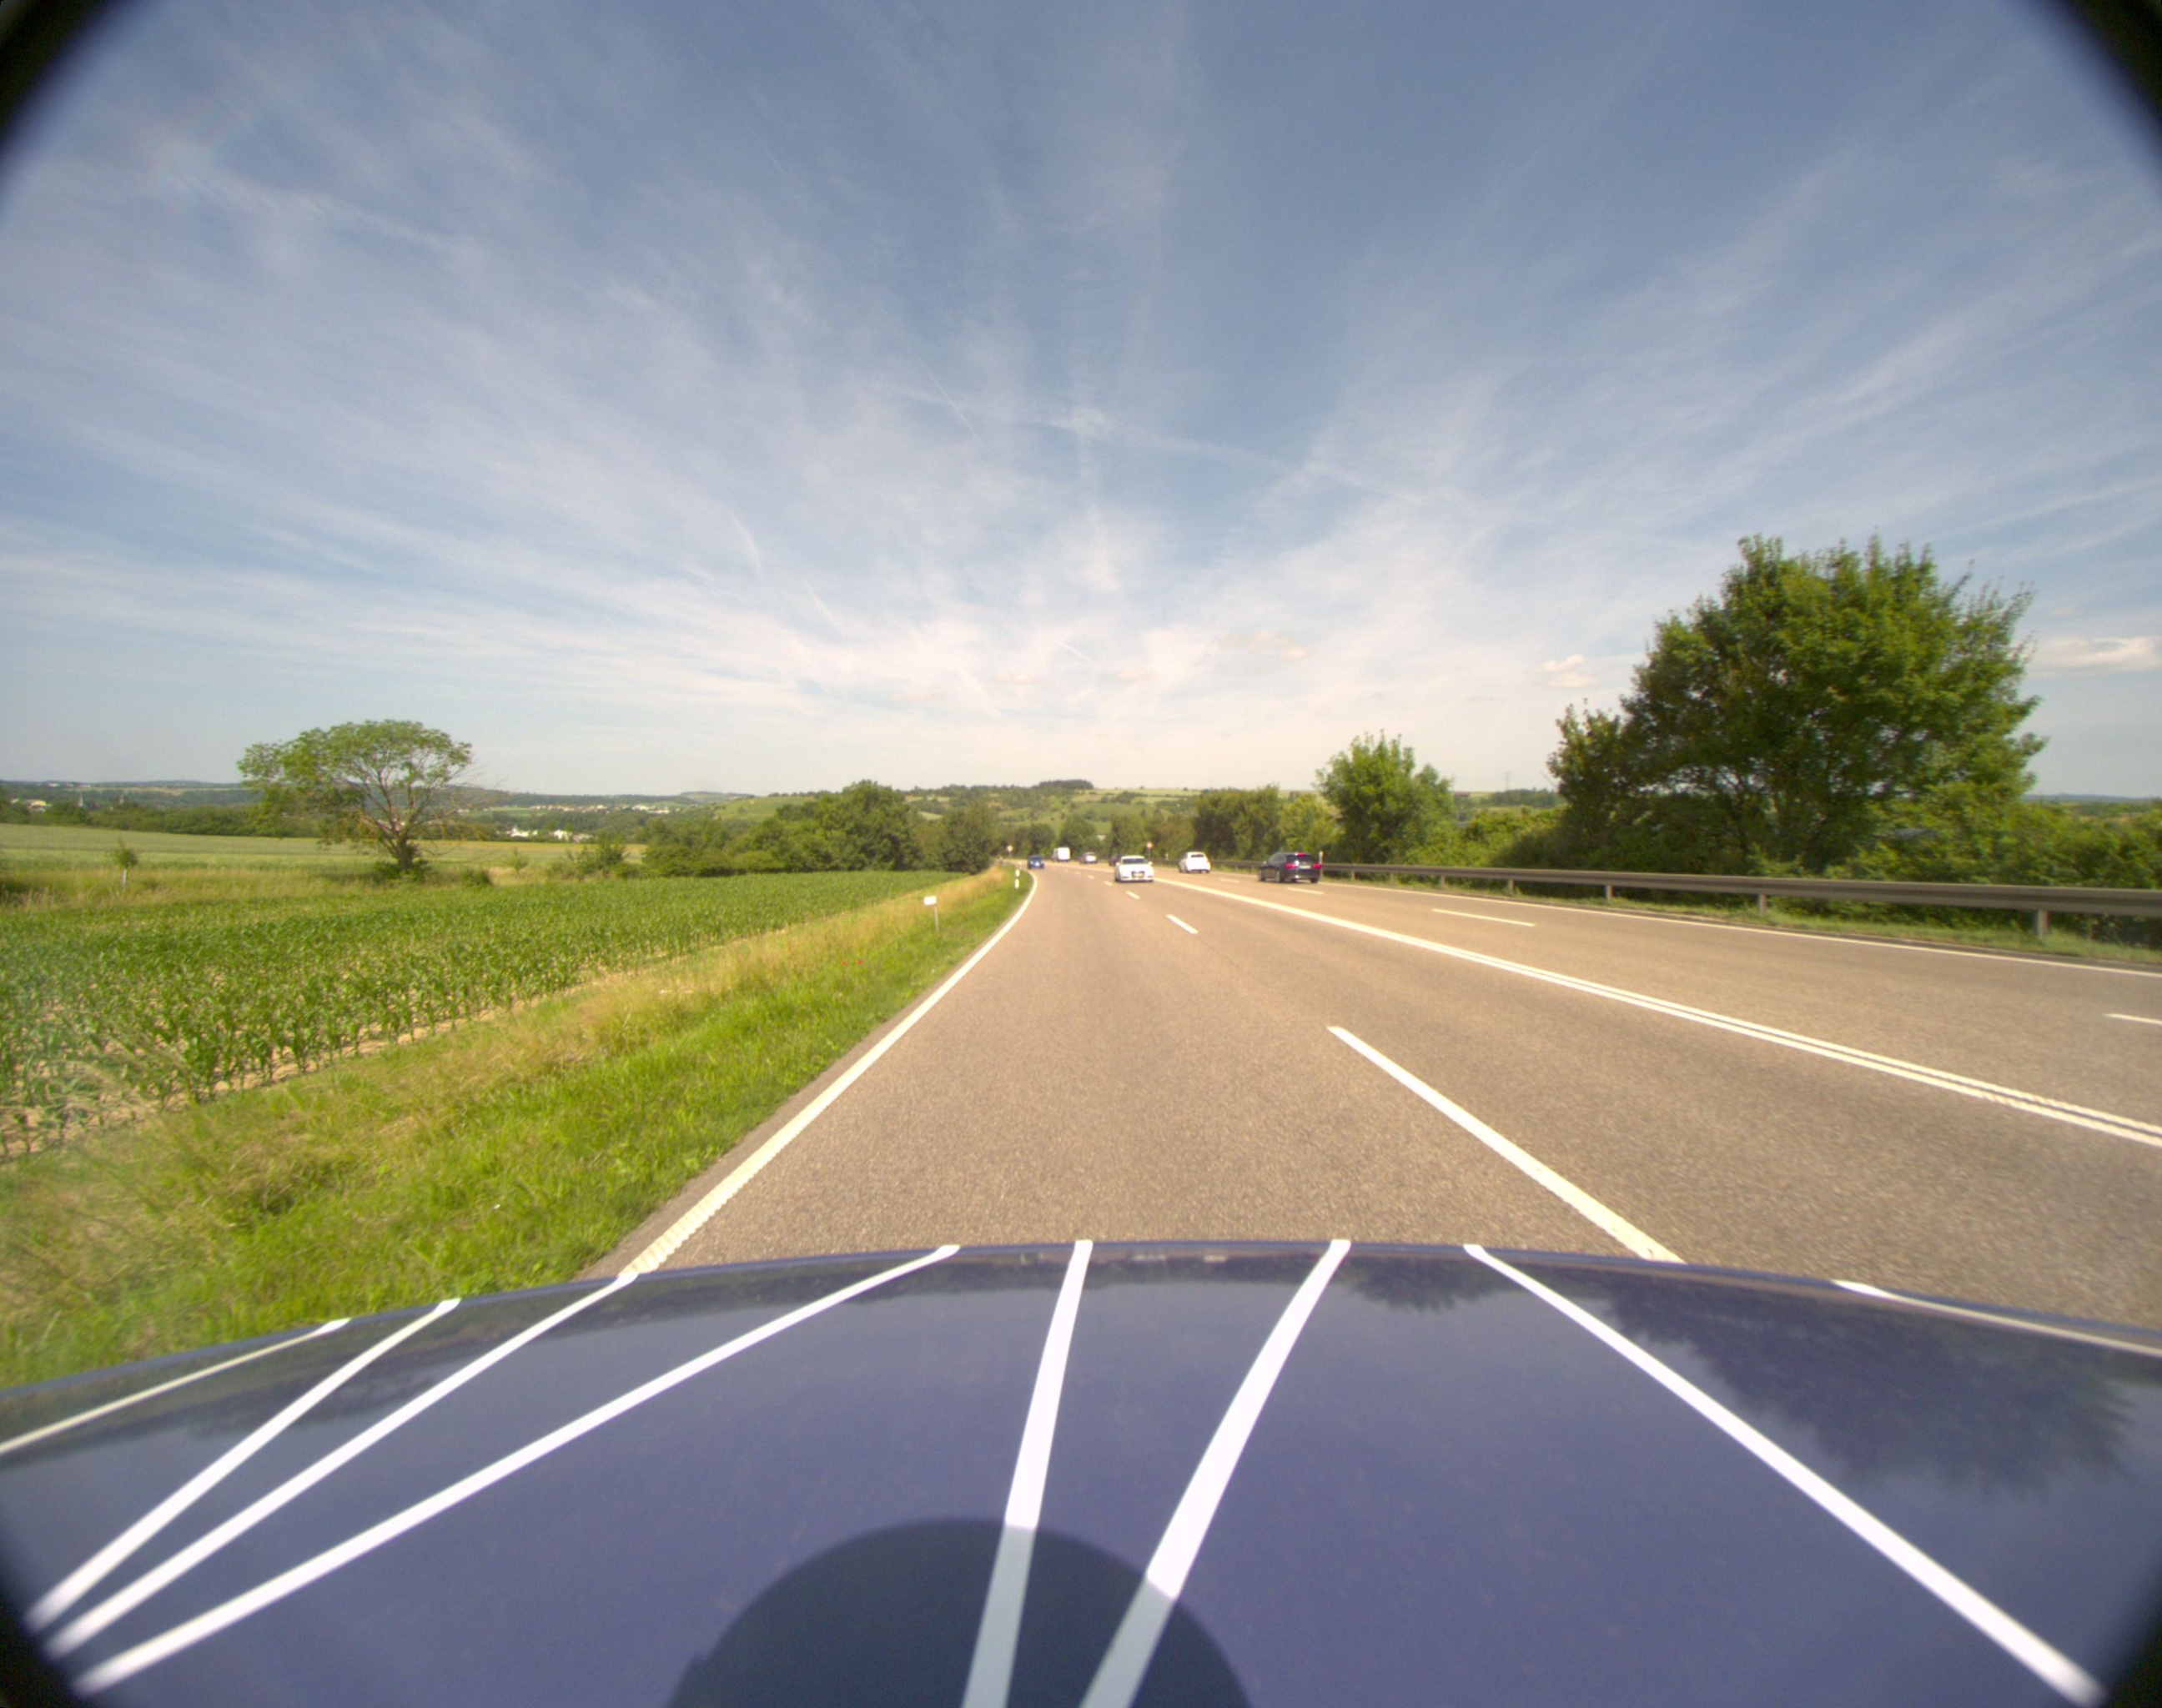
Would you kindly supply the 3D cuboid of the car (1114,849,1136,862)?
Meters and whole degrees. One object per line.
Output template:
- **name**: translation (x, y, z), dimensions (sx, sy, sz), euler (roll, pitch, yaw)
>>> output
- **car**: translation (5.107, 0.137, 88.837), dimensions (1.723, 1.453, 4.212), euler (-2, 0, -7)

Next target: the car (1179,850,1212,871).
- **car**: translation (8.377, 0.482, 55.785), dimensions (1.662, 1.449, 3.733), euler (-1, 1, -2)

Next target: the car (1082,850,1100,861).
- **car**: translation (1.426, 0.160, 109.509), dimensions (1.819, 1.559, 4.679), euler (-1, 0, -10)

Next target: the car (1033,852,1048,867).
- **car**: translation (-4.734, 0.608, 88.378), dimensions (1.636, 1.522, 3.913), euler (-4, 1, -3)

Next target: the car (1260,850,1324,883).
- **car**: translation (10.029, 0.550, 36.434), dimensions (1.841, 1.447, 4.325), euler (0, 0, 0)

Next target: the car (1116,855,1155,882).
- **car**: translation (2.913, 0.744, 41.585), dimensions (1.707, 1.368, 4.602), euler (-2, 0, -1)

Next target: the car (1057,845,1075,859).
- **car**: translation (-2.676, -0.295, 132.118), dimensions (2.096, 2.380, 5.838), euler (-1, -1, -12)
